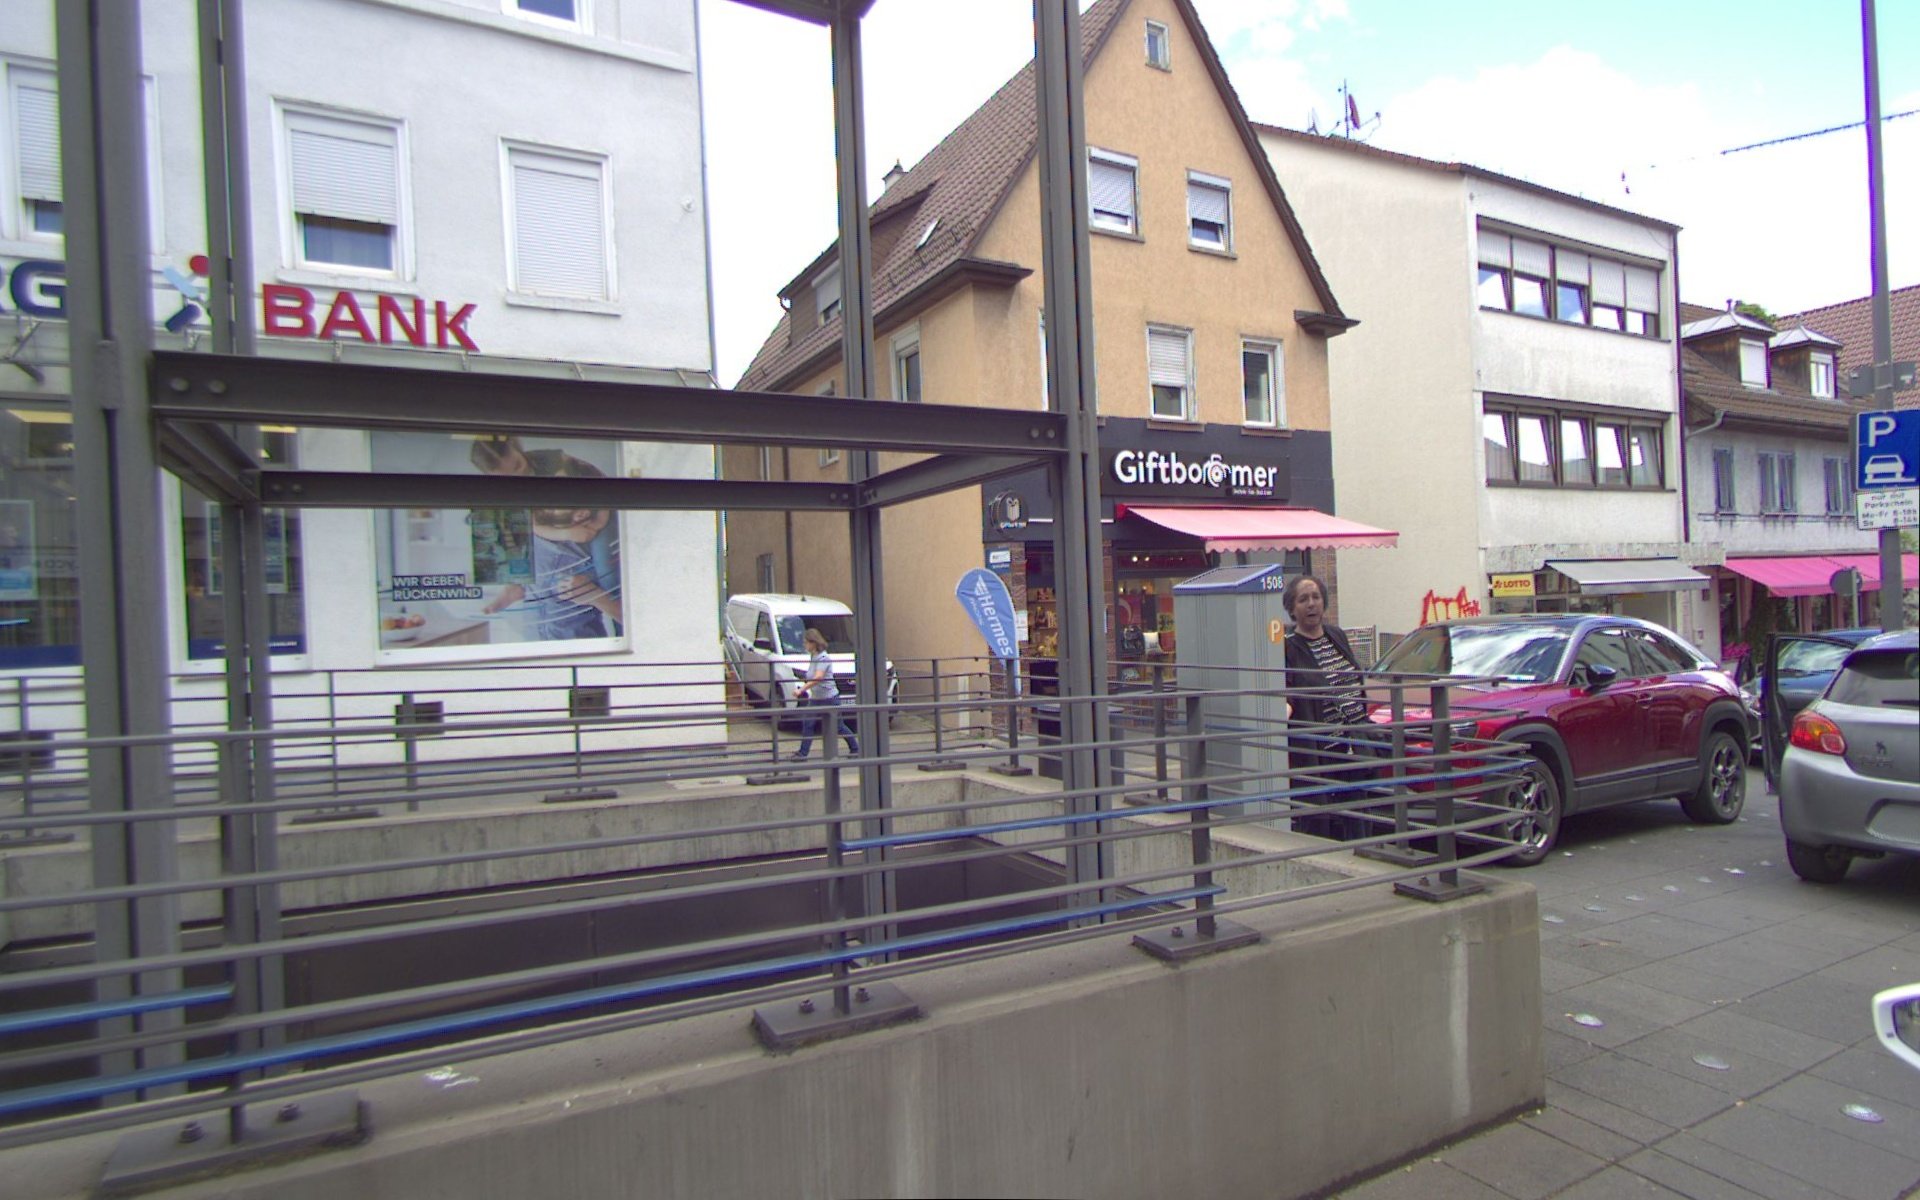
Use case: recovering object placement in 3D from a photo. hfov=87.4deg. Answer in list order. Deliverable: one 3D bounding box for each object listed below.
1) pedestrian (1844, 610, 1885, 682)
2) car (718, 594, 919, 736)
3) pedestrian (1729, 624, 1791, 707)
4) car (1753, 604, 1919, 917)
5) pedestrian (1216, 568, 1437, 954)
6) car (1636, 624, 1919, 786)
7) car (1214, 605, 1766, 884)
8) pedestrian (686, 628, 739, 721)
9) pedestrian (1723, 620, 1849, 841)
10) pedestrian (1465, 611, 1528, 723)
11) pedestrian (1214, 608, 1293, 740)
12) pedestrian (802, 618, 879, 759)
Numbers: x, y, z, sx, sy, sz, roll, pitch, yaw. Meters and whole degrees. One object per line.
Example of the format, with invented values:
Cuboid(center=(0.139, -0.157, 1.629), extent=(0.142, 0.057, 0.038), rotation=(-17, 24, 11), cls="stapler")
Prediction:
Cuboid(center=(21.676, 1.088, 24.070), extent=(0.570, 1.711, 0.575), rotation=(1, 0, -31), cls="pedestrian")
Cuboid(center=(-2.335, 0.858, 15.620), extent=(1.859, 1.898, 4.054), rotation=(0, 0, -28), cls="car")
Cuboid(center=(15.511, 1.256, 19.474), extent=(0.936, 1.559, 0.660), rotation=(1, -1, -32), cls="pedestrian")
Cuboid(center=(6.378, 0.823, 5.828), extent=(3.628, 1.553, 1.612), rotation=(1, -1, -31), cls="car")
Cuboid(center=(1.773, 0.711, 4.864), extent=(0.889, 1.694, 0.531), rotation=(0, -1, -28), cls="pedestrian")
Cuboid(center=(9.411, 1.028, 11.133), extent=(3.839, 1.495, 1.730), rotation=(1, -1, -31), cls="car")
Cuboid(center=(4.018, 0.848, 7.453), extent=(4.144, 1.563, 1.730), rotation=(1, -1, -31), cls="car")
Cuboid(center=(-3.692, 1.092, 14.958), extent=(0.600, 1.336, 0.622), rotation=(1, 0, -31), cls="pedestrian")
Cuboid(center=(5.698, 0.871, 6.935), extent=(0.486, 1.450, 0.464), rotation=(1, -4, -30), cls="pedestrian")
Cuboid(center=(8.423, 1.042, 15.801), extent=(0.653, 1.711, 0.646), rotation=(-1, -2, 10), cls="pedestrian")
Cuboid(center=(3.948, 0.976, 13.537), extent=(0.817, 1.711, 0.637), rotation=(1, -1, -28), cls="pedestrian")
Cuboid(center=(-1.402, 1.018, 11.744), extent=(0.708, 1.594, 0.562), rotation=(1, -4, -30), cls="pedestrian")
